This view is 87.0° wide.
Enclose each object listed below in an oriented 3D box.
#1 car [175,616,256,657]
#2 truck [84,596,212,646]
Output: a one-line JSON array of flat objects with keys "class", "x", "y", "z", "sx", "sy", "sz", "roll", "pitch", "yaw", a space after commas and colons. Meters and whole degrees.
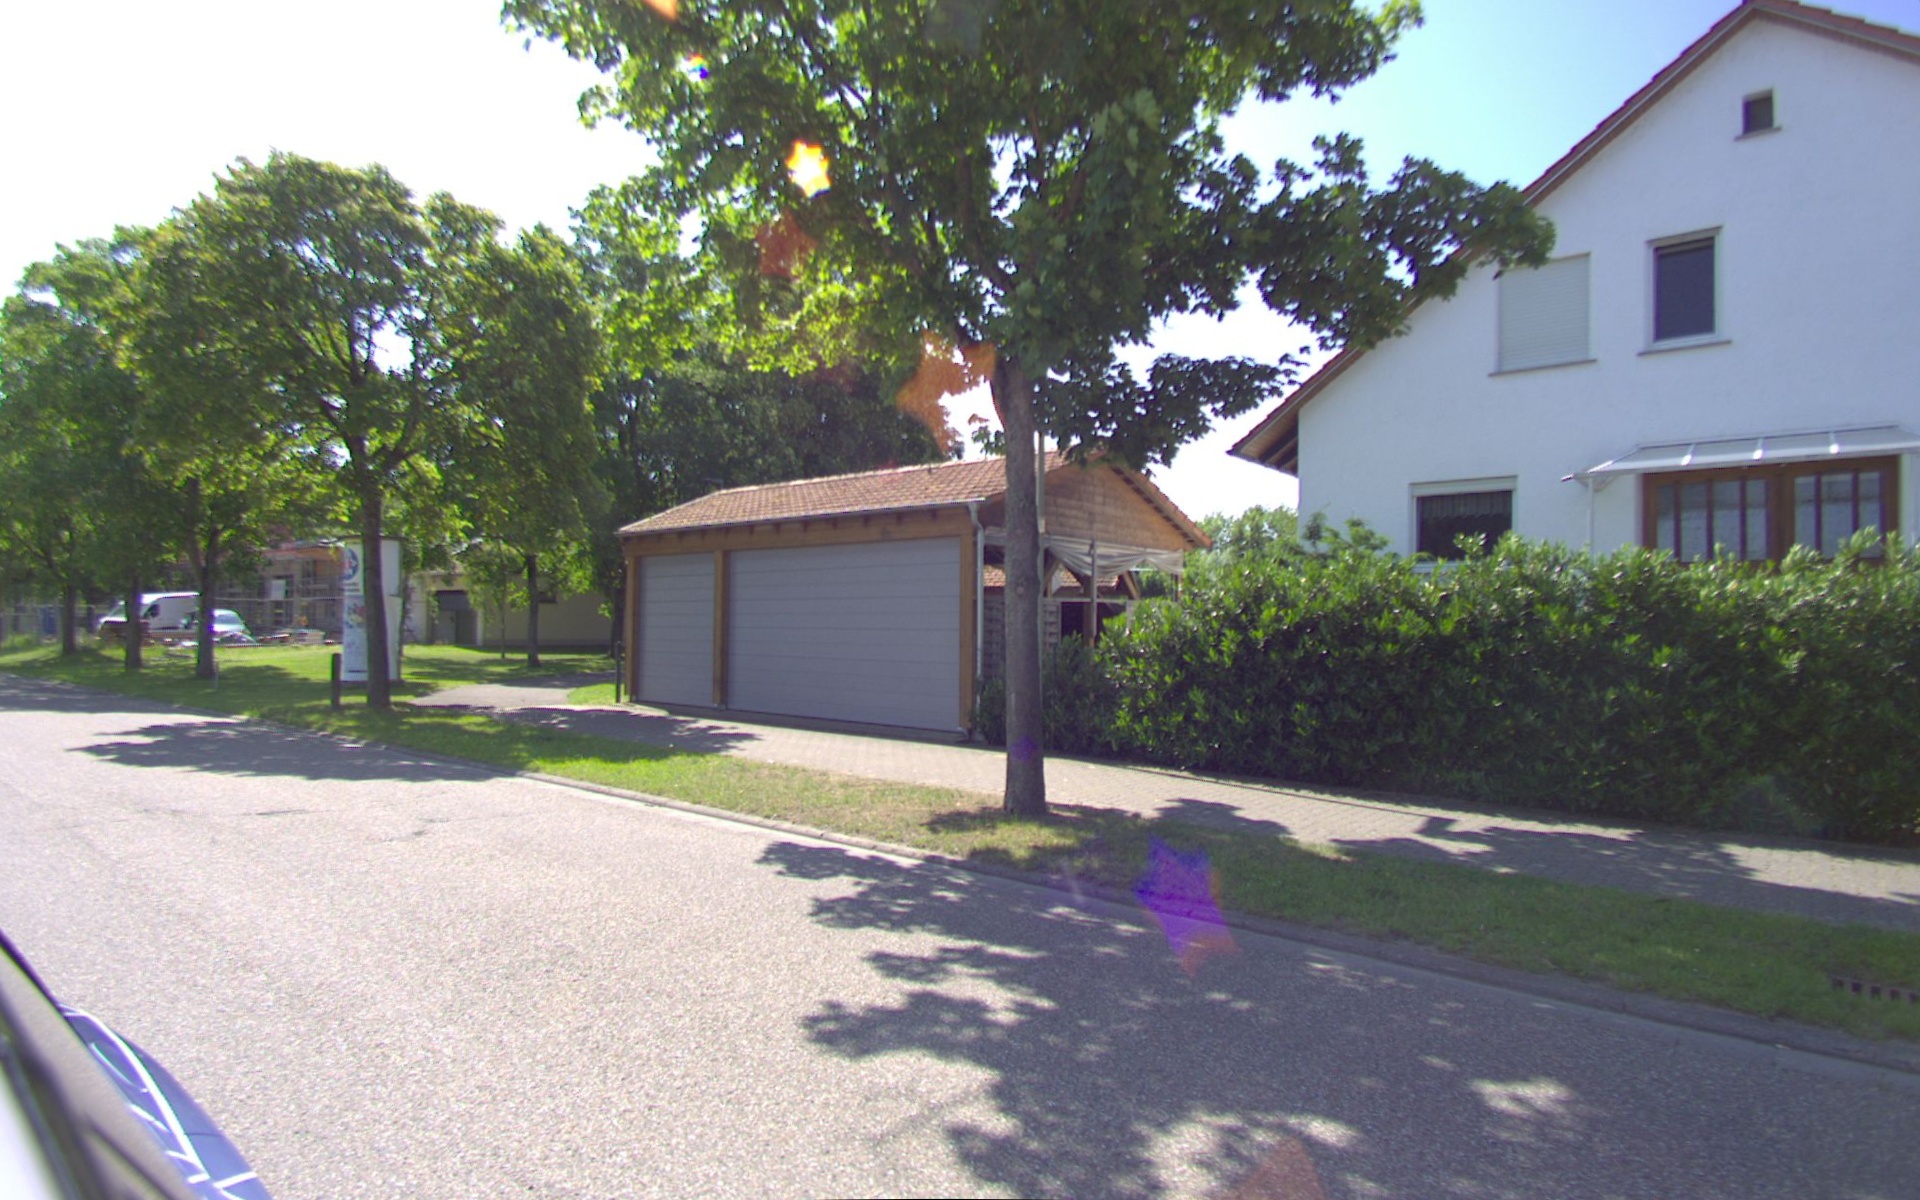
[{"class": "car", "x": -34.592, "y": 1.669, "z": 46.960, "sx": 4.323, "sy": 1.852, "sz": 1.951, "roll": -1, "pitch": -2, "yaw": 38}, {"class": "truck", "x": -43.351, "y": 1.121, "z": 54.249, "sx": 1.973, "sy": 2.502, "sz": 5.928, "roll": 0, "pitch": -1, "yaw": 2}]
